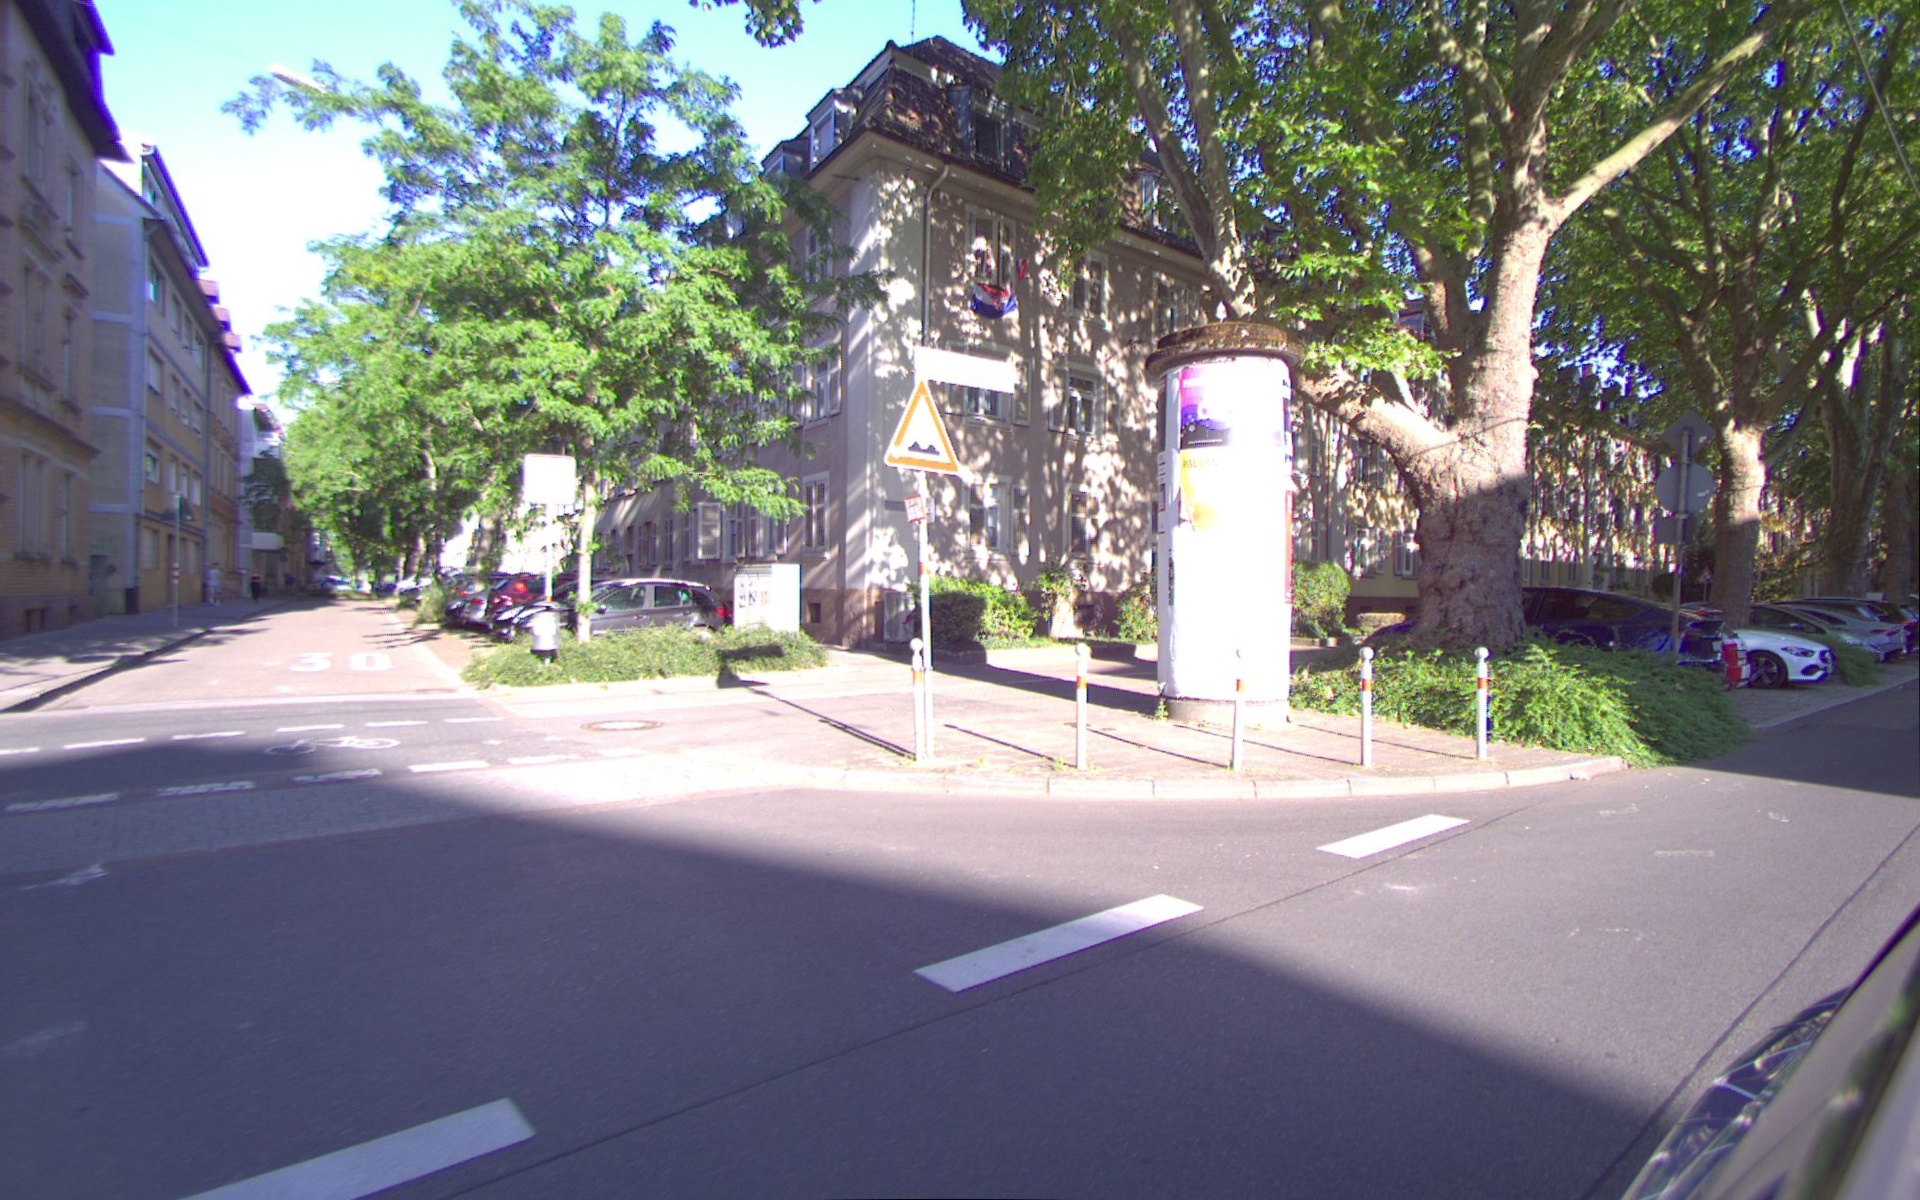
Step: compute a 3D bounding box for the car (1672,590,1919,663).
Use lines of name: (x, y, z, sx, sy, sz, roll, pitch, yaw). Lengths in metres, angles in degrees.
car: (20.243, 0.574, 24.443, 1.858, 1.513, 4.614, 1, 1, -37)

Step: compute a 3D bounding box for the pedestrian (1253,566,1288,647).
pedestrian: (6.999, 0.144, 22.835, 0.630, 1.790, 0.620, 0, 0, 4)

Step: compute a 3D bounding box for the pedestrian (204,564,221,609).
pedestrian: (-29.980, -0.533, 40.603, 0.512, 1.770, 0.925, 0, 0, -34)

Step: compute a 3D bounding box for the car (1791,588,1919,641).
car: (31.299, 0.489, 34.241, 1.858, 1.661, 4.614, 1, 1, -37)

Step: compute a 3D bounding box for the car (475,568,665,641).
car: (-9.143, 0.086, 23.779, 3.921, 1.602, 1.732, 0, 1, -31)

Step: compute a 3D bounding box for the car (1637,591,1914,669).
car: (18.451, 0.605, 23.106, 1.858, 1.513, 4.614, 1, 1, -37)

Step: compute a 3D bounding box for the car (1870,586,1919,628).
car: (43.641, 0.341, 44.889, 1.858, 1.814, 4.614, 1, 1, -37)

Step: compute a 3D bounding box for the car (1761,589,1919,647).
car: (28.255, 0.542, 31.706, 1.858, 1.661, 4.614, 1, 1, -37)

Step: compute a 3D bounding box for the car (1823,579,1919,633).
car: (37.513, 0.239, 40.184, 1.858, 2.039, 4.639, 1, 1, -37)

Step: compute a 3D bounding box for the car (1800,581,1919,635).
car: (33.054, 0.287, 35.987, 1.858, 1.814, 4.614, 1, 1, -37)

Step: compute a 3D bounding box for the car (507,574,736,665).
car: (-6.510, 0.320, 19.570, 3.921, 1.602, 1.732, 0, 1, -31)

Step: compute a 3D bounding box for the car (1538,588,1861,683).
car: (13.864, 0.585, 19.242, 1.858, 1.513, 4.614, 1, 1, -37)

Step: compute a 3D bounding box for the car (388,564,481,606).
car: (-34.065, -0.980, 65.633, 5.198, 2.642, 2.145, 0, 1, -31)

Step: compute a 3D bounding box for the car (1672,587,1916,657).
car: (21.627, 0.508, 26.426, 1.858, 1.585, 4.614, 1, 1, -37)

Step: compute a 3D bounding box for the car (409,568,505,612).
car: (-23.696, -0.479, 47.712, 3.921, 2.019, 1.802, 0, 1, -31)

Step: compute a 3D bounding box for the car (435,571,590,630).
car: (-12.933, 0.000, 29.289, 3.921, 1.602, 1.732, 0, 1, -31)

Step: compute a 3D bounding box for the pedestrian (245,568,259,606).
pedestrian: (-33.216, -0.611, 47.512, 0.512, 1.770, 0.490, 0, 0, -34)

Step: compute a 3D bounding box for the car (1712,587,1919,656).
car: (23.394, 0.526, 27.326, 1.858, 1.661, 4.614, 1, 1, -37)

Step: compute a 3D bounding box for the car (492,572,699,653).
car: (-7.805, 0.233, 21.752, 3.921, 1.602, 1.732, 0, 1, -31)

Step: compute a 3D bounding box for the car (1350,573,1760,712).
car: (8.420, 0.481, 14.760, 1.859, 1.652, 4.808, 1, 1, -40)

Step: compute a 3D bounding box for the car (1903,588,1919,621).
car: (52.661, 0.285, 52.926, 1.858, 1.737, 4.614, 1, 1, -37)

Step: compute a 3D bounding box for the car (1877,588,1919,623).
car: (48.909, 0.317, 50.315, 1.858, 1.737, 4.614, 1, 1, -37)

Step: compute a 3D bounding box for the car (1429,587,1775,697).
car: (10.176, 0.573, 16.310, 1.860, 1.462, 4.363, 1, 1, -42)

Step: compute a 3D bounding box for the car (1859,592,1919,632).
car: (41.847, 0.548, 43.447, 1.858, 1.661, 4.614, 1, 1, -37)

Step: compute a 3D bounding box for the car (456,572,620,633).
car: (-11.505, 0.041, 27.649, 3.921, 1.555, 1.732, 0, 1, -31)

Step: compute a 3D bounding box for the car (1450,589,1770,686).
car: (11.550, 0.583, 18.287, 1.858, 1.462, 4.511, 1, 1, -37)

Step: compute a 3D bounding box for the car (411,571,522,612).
car: (-20.094, -0.355, 41.218, 3.921, 1.602, 1.732, 0, 1, -31)

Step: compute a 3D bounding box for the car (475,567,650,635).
car: (-10.082, 0.002, 25.724, 3.921, 1.602, 1.732, 0, 1, -31)
